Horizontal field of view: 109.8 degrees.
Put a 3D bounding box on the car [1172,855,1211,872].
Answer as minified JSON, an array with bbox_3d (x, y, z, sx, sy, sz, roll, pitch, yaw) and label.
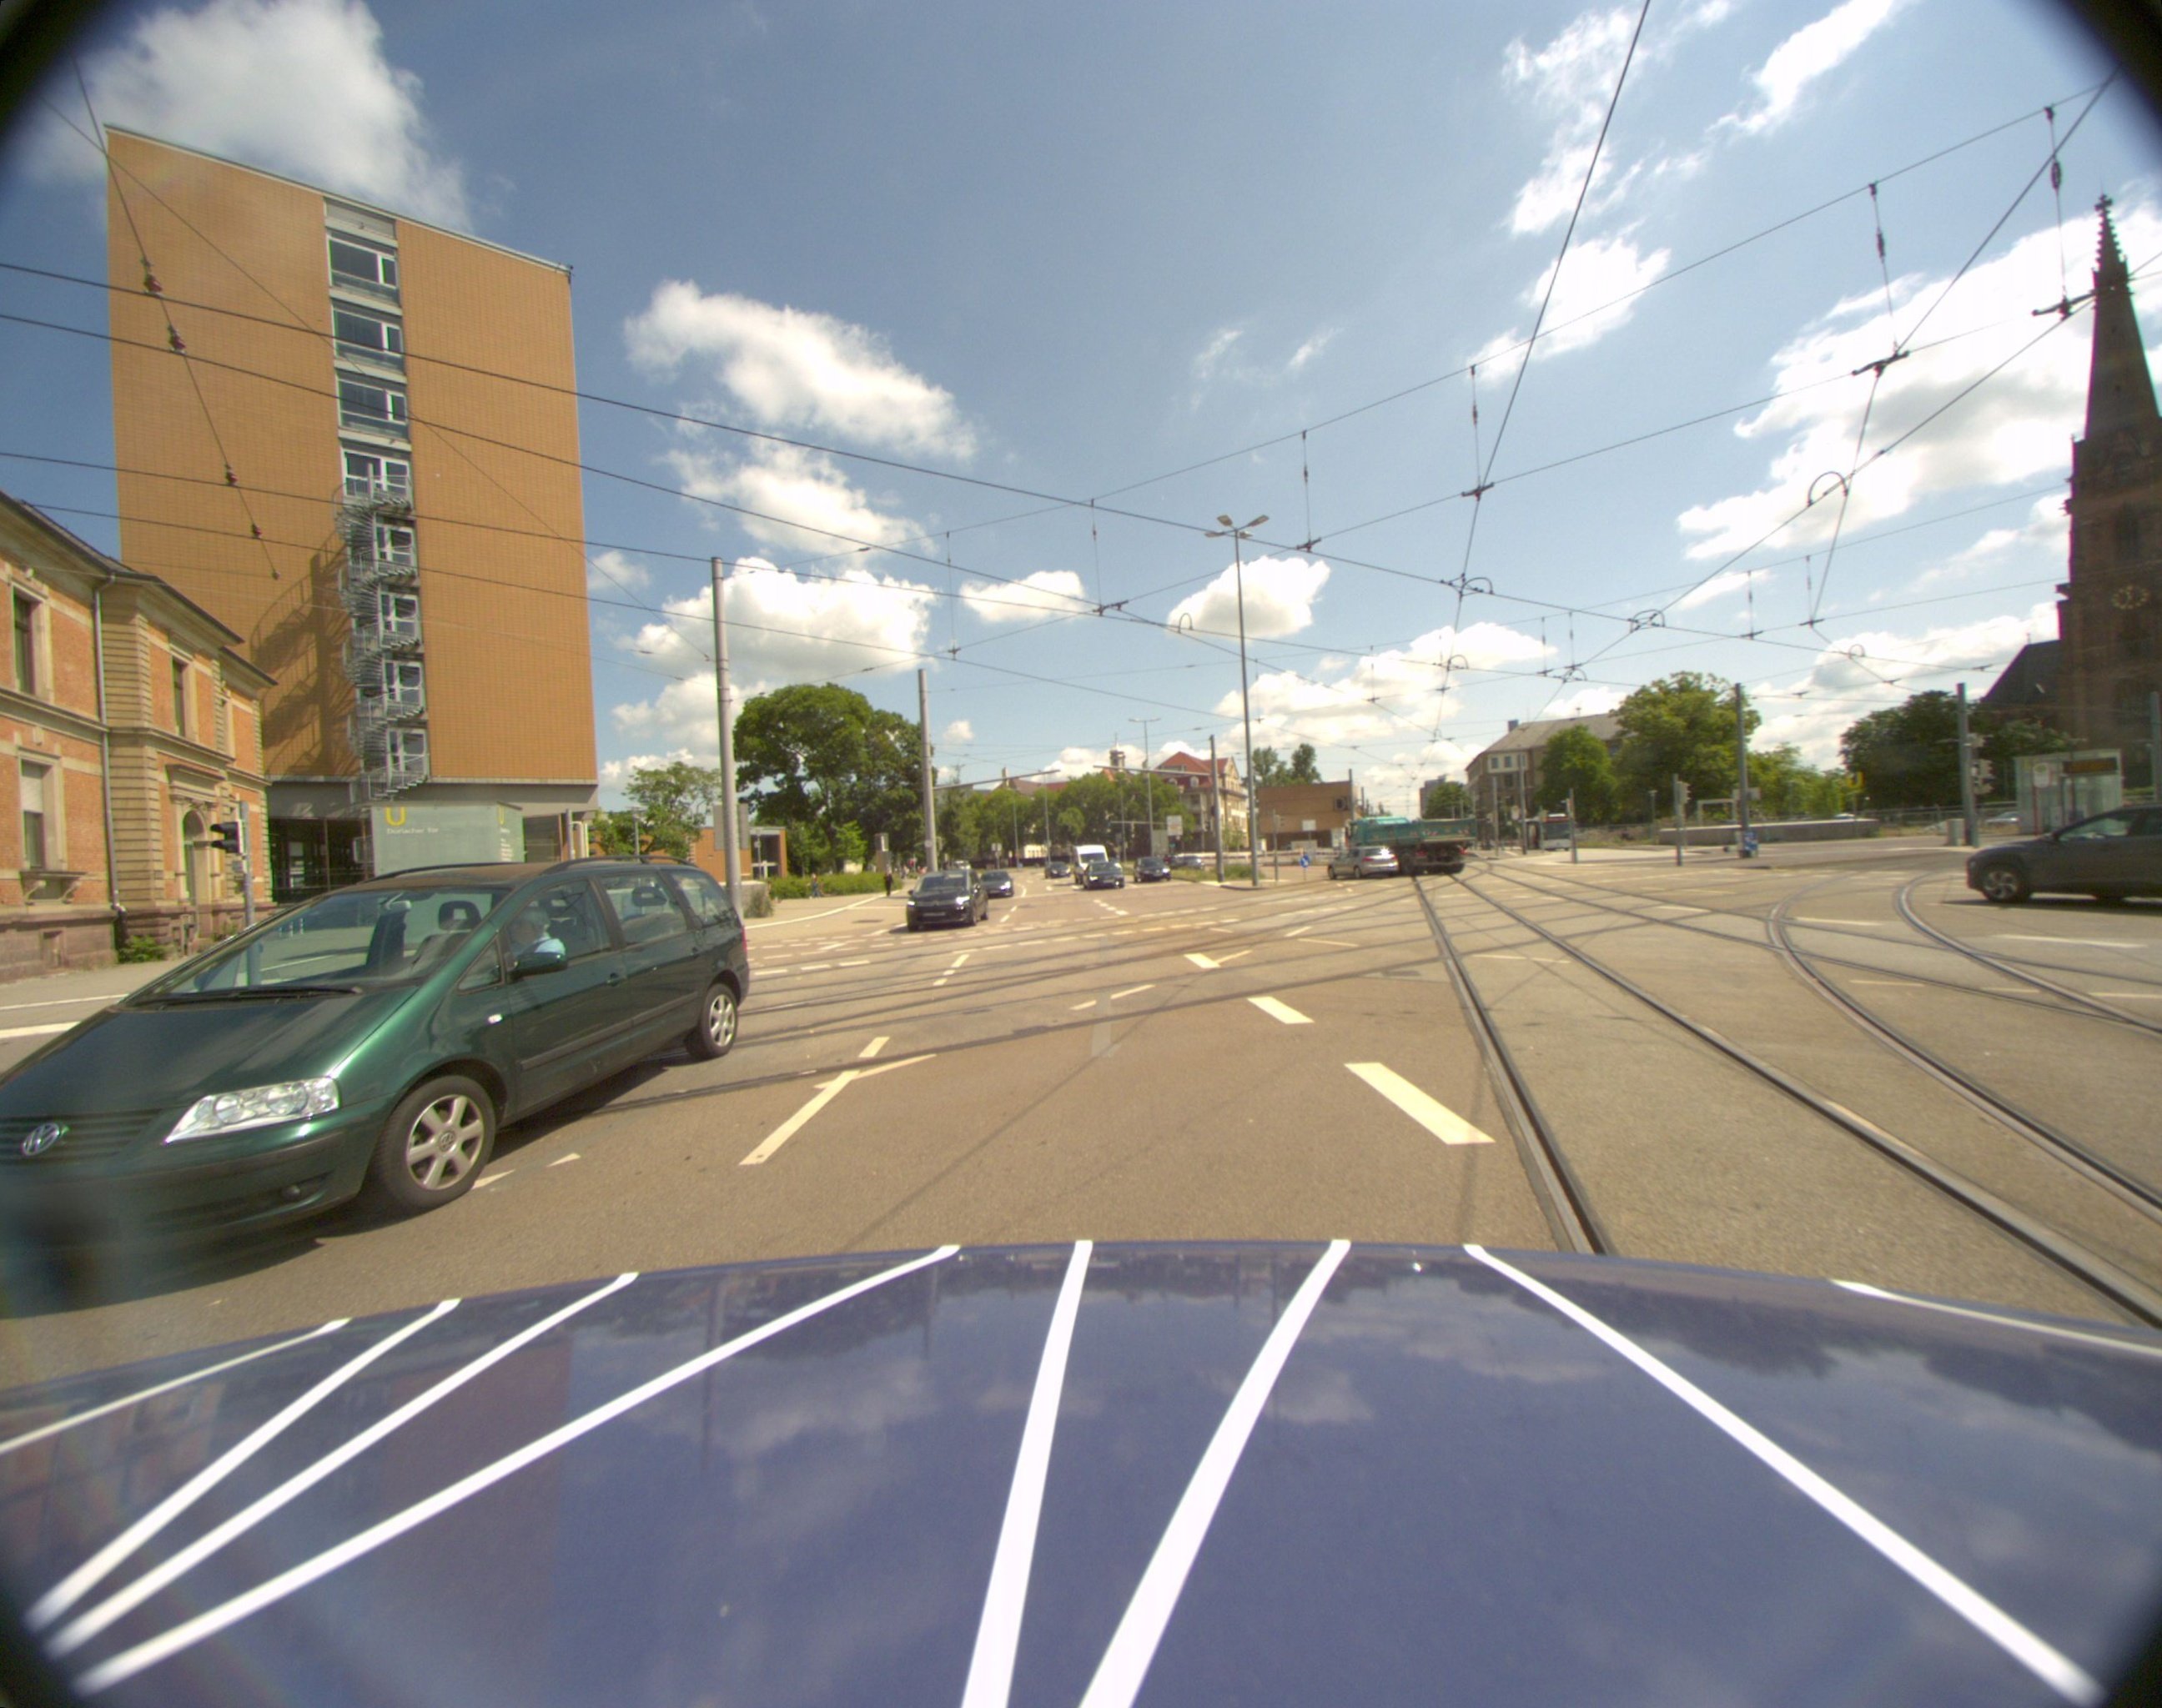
[{"bbox_3d":[8.870,0.728,61.318,1.827,1.224,3.935,-3,0,-11],"label":"car"}]

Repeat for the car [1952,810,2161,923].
[{"bbox_3d":[15.843,0.136,11.045,1.813,1.551,4.109,-3,0,5],"label":"car"}]

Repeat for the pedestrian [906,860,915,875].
[{"bbox_3d":[-21.099,1.668,94.073,1.064,1.766,0.986,-3,0,-15],"label":"pedestrian"}]

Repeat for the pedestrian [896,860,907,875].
[{"bbox_3d":[-21.358,1.603,90.588,1.152,1.680,1.309,-3,0,-13],"label":"pedestrian"}]

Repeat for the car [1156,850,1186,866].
[{"bbox_3d":[9.863,0.456,83.340,2.001,1.674,3.995,-3,0,-13],"label":"car"}]

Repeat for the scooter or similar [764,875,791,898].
[{"bbox_3d":[-16.599,1.769,41.616,1.318,1.216,0.607,-3,0,-21],"label":"scooter or similar"}]

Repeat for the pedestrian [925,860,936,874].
[{"bbox_3d":[-17.573,1.515,88.864,1.152,1.680,1.309,-3,0,-13],"label":"pedestrian"}]

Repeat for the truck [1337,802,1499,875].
[{"bbox_3d":[15.877,-0.663,36.819,3.355,2.980,8.731,-3,0,-4],"label":"truck"}]

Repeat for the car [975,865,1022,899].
[{"bbox_3d":[-4.329,1.450,40.641,1.873,1.477,4.426,-3,1,1],"label":"car"}]

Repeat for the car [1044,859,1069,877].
[{"bbox_3d":[-2.263,1.269,70.151,1.782,1.565,3.958,-3,0,-9],"label":"car"}]

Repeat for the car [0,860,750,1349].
[{"bbox_3d":[-4.016,0.994,4.896,1.819,1.707,4.084,-5,0,0],"label":"car"}]

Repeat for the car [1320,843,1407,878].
[{"bbox_3d":[12.646,0.285,34.314,1.854,1.407,4.337,-2,0,-7],"label":"car"}]

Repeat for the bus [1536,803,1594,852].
[{"bbox_3d":[37.530,-2.062,59.198,2.945,3.427,7.960,-2,1,27],"label":"bus"}]

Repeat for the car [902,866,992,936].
[{"bbox_3d":[-3.713,1.255,21.825,1.873,1.607,4.425,-2,1,-2],"label":"car"}]

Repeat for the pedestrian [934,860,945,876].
[{"bbox_3d":[-15.970,1.546,85.653,1.152,1.680,1.309,-3,0,-13],"label":"pedestrian"}]

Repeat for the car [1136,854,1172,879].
[{"bbox_3d":[4.257,0.715,44.855,1.671,1.368,3.915,-3,0,0],"label":"car"}]

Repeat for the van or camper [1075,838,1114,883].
[{"bbox_3d":[0.833,0.398,50.237,2.232,2.719,5.520,-3,0,-1],"label":"van or camper"}]

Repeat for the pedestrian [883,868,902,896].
[{"bbox_3d":[-11.080,1.629,44.634,0.830,1.576,0.767,-3,0,0],"label":"pedestrian"}]

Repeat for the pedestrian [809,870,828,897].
[{"bbox_3d":[-16.679,1.855,48.245,0.830,1.616,0.767,-3,0,0],"label":"pedestrian"}]

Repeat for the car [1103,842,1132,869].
[{"bbox_3d":[2.937,0.108,61.676,1.815,2.002,3.998,-3,0,-4],"label":"car"}]

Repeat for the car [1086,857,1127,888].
[{"bbox_3d":[1.299,0.967,40.799,1.900,1.455,4.260,-3,0,-1],"label":"car"}]

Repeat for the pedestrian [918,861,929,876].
[{"bbox_3d":[-17.531,1.621,84.557,1.152,1.680,1.309,-3,0,-13],"label":"pedestrian"}]

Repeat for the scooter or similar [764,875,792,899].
[{"bbox_3d":[-16.293,1.775,40.859,1.318,1.216,0.607,-3,0,-21],"label":"scooter or similar"}]

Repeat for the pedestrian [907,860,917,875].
[{"bbox_3d":[-20.271,1.638,91.198,1.152,1.680,1.309,-3,0,-13],"label":"pedestrian"}]
